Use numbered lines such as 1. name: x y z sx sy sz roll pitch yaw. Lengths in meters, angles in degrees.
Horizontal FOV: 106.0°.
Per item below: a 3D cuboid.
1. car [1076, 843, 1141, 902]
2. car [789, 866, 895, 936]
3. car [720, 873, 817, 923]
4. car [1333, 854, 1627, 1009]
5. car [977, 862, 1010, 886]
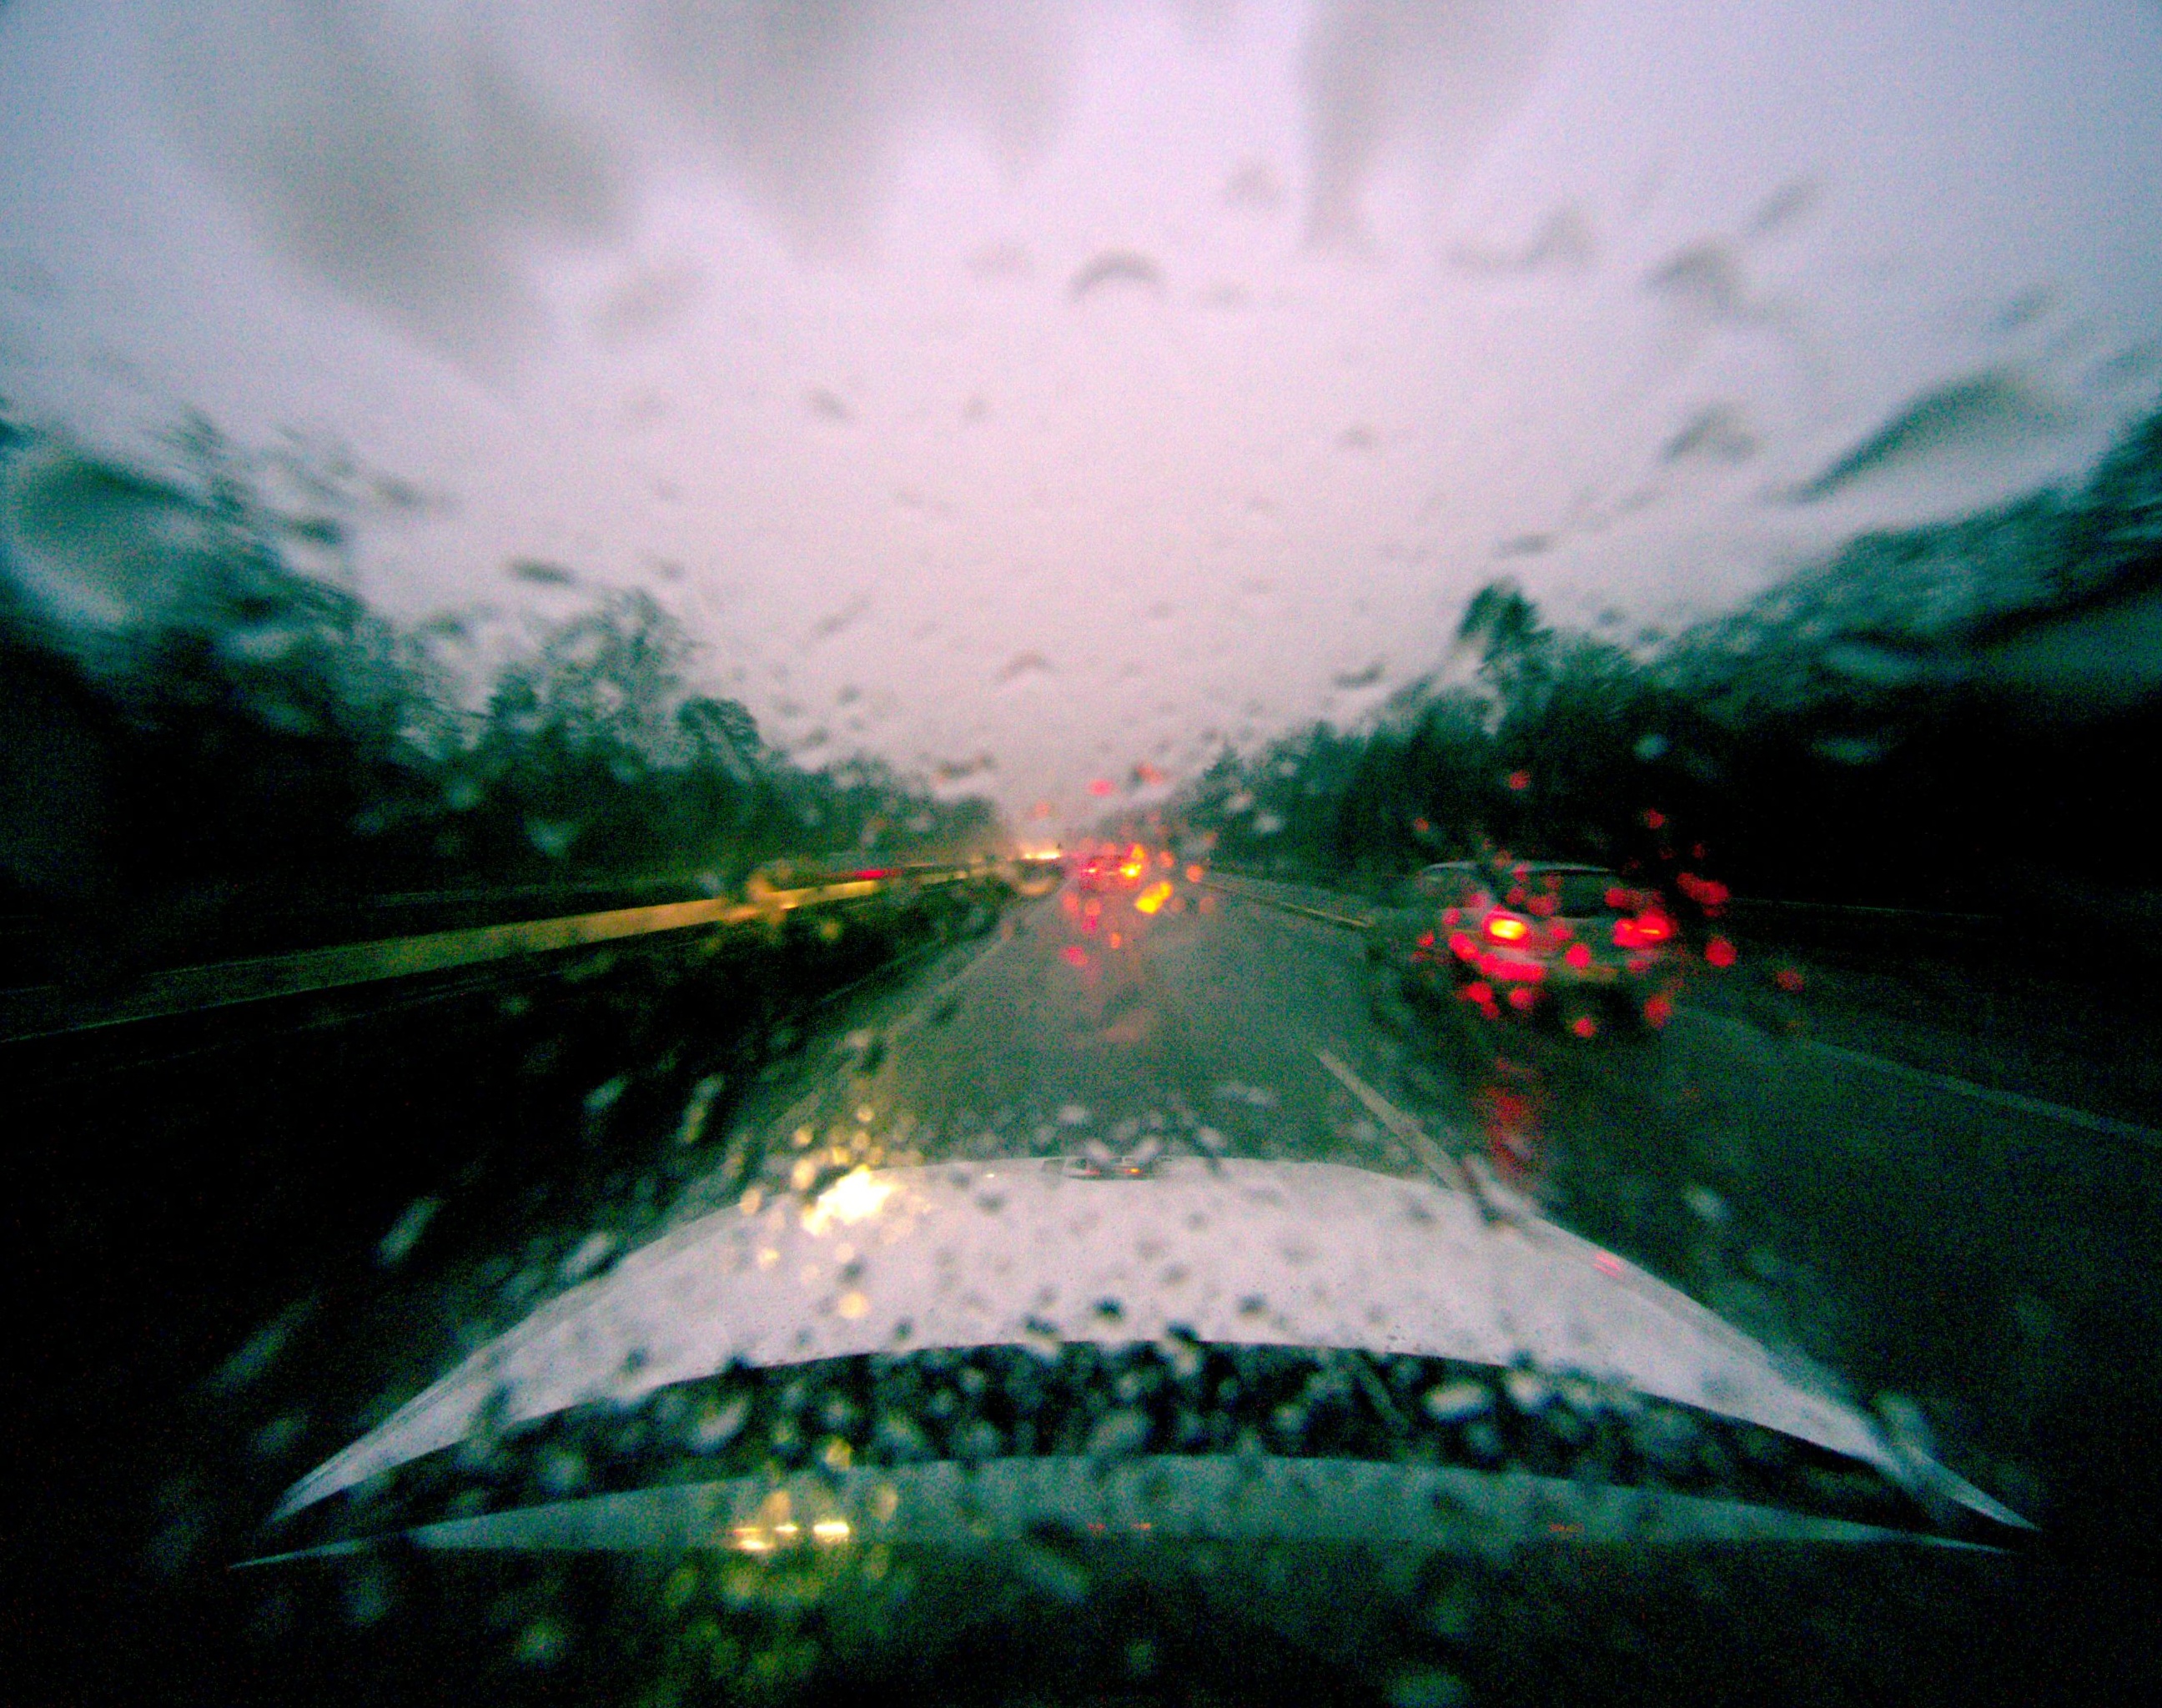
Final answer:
1. car: 0.872 0.567 27.041 1.979 1.767 4.174 -1 0 1
2. car: -7.121 1.354 24.722 1.816 1.904 4.001 2 -1 2
3. car: -11.329 1.554 29.834 1.816 1.671 4.001 2 -1 2
4. car: 4.299 0.731 9.436 1.773 1.437 3.539 -1 0 2
5. car: -6.292 1.452 59.016 1.816 1.671 4.001 2 -1 2
